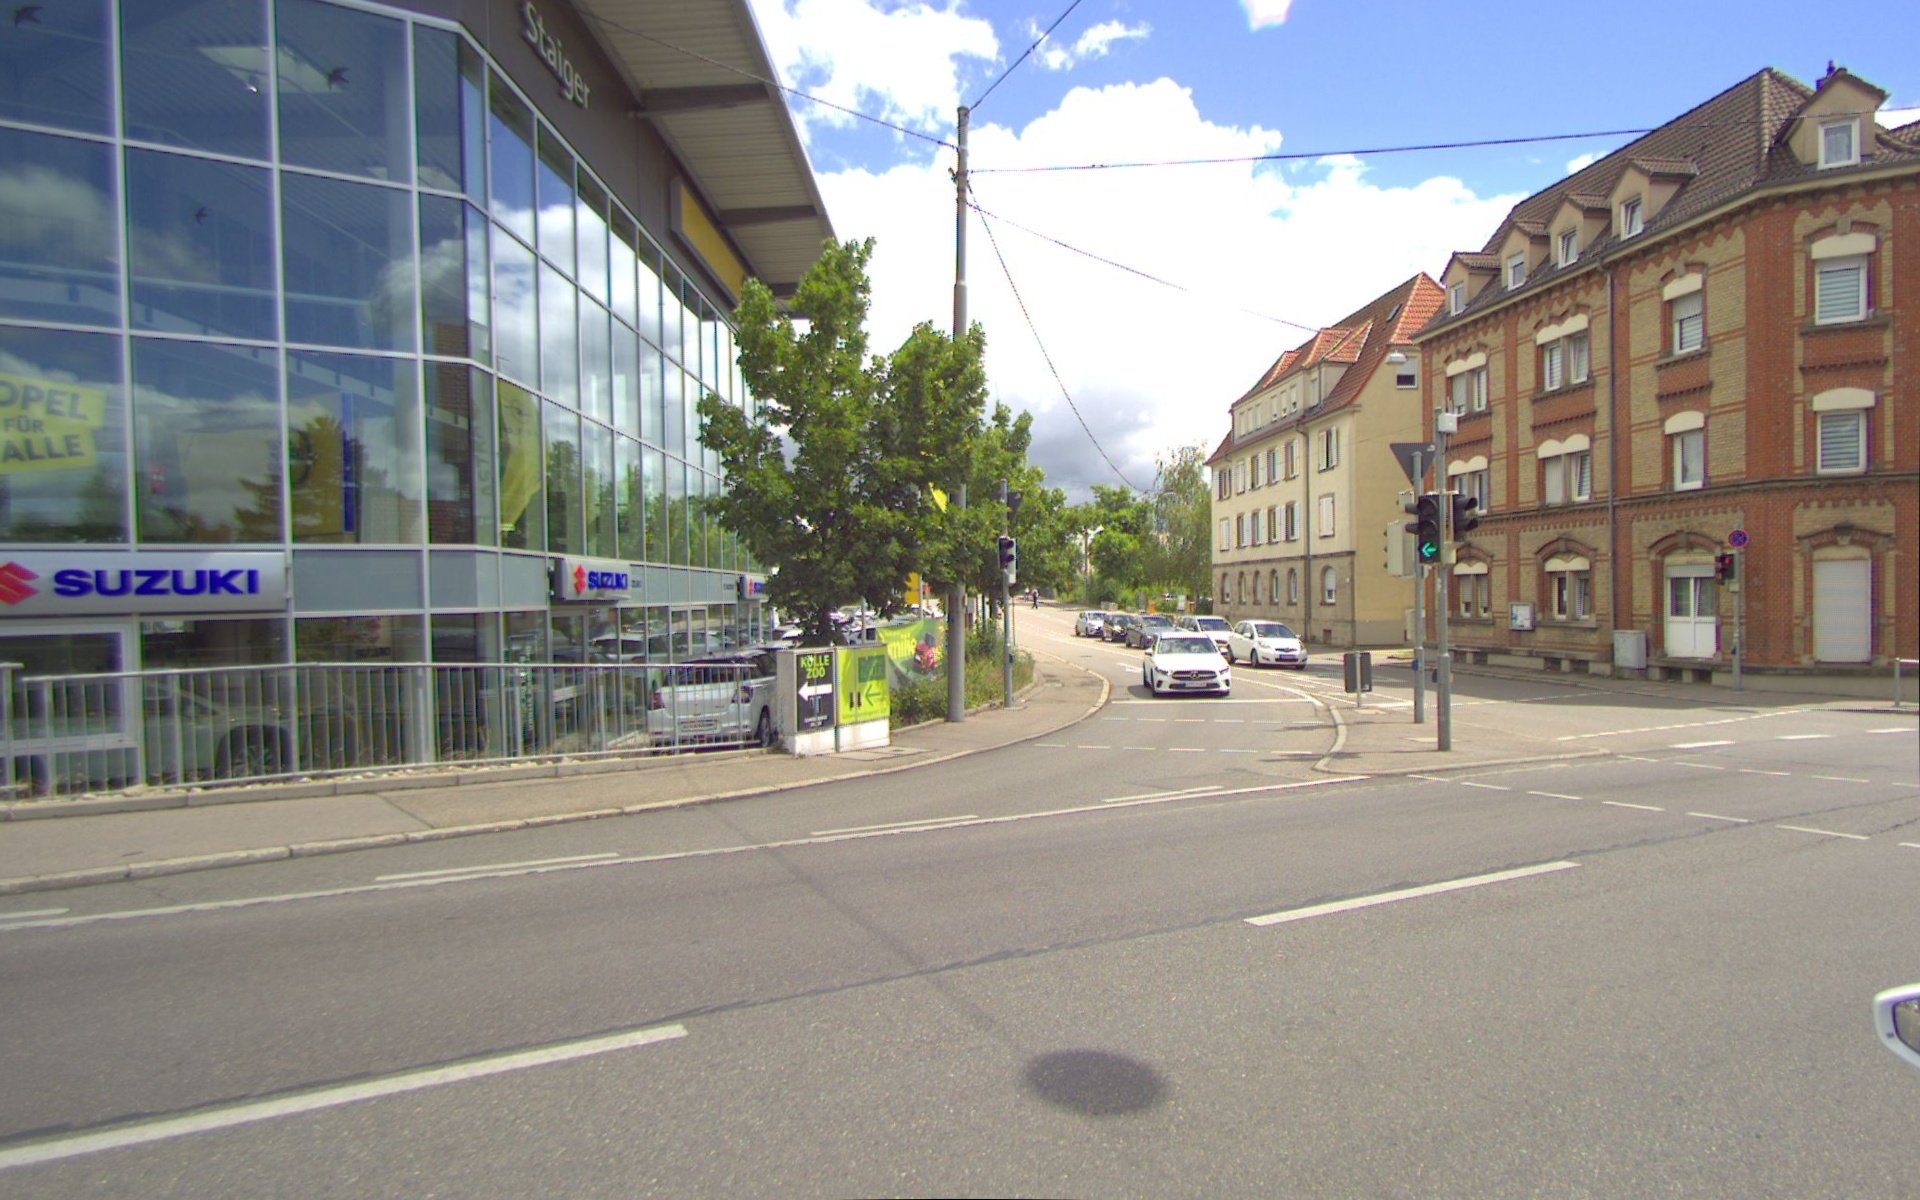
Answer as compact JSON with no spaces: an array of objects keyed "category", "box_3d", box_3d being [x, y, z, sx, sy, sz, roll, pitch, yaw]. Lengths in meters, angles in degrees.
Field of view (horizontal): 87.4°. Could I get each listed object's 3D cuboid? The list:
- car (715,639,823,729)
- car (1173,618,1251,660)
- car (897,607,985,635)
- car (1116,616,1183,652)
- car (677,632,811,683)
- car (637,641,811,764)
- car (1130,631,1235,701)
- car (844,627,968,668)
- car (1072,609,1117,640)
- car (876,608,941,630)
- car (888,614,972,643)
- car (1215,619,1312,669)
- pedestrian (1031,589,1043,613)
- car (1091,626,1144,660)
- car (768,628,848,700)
[{"category":"car","box_3d":[-3.789,1.629,20.435,1.487,1.543,3.792,1,-1,-1]},{"category":"car","box_3d":[9.994,1.503,40.077,1.715,1.539,3.996,1,-1,-6]},{"category":"car","box_3d":[-0.839,0.965,46.137,3.921,1.202,1.818,1,-1,0]},{"category":"car","box_3d":[8.742,1.539,46.675,1.963,1.539,3.996,1,-1,-6]},{"category":"car","box_3d":[-6.984,1.833,32.560,3.919,1.478,1.605,1,-1,16]},{"category":"car","box_3d":[-3.668,1.552,16.284,1.720,1.596,3.688,2,-1,3]},{"category":"car","box_3d":[5.267,1.526,24.307,1.825,1.466,4.394,-2,-2,5]},{"category":"car","box_3d":[-1.721,1.548,32.925,3.921,1.202,1.818,1,-1,0]},{"category":"car","box_3d":[7.924,1.411,59.615,1.908,1.743,3.998,1,-1,-3]},{"category":"car","box_3d":[-3.160,1.177,62.299,3.921,1.311,1.818,1,-1,0]},{"category":"car","box_3d":[-1.411,1.360,48.564,3.921,1.311,1.818,1,-1,0]},{"category":"car","box_3d":[10.116,1.433,33.738,1.670,1.517,3.996,1,-1,-6]},{"category":"pedestrian","box_3d":[6.784,0.104,88.788,0.944,2.040,0.867,1,0,11]},{"category":"car","box_3d":[8.129,2.189,52.204,1.961,1.607,4.345,1,0,-2]},{"category":"car","box_3d":[-3.693,1.521,24.829,1.487,1.596,3.415,1,-1,-1]}]
